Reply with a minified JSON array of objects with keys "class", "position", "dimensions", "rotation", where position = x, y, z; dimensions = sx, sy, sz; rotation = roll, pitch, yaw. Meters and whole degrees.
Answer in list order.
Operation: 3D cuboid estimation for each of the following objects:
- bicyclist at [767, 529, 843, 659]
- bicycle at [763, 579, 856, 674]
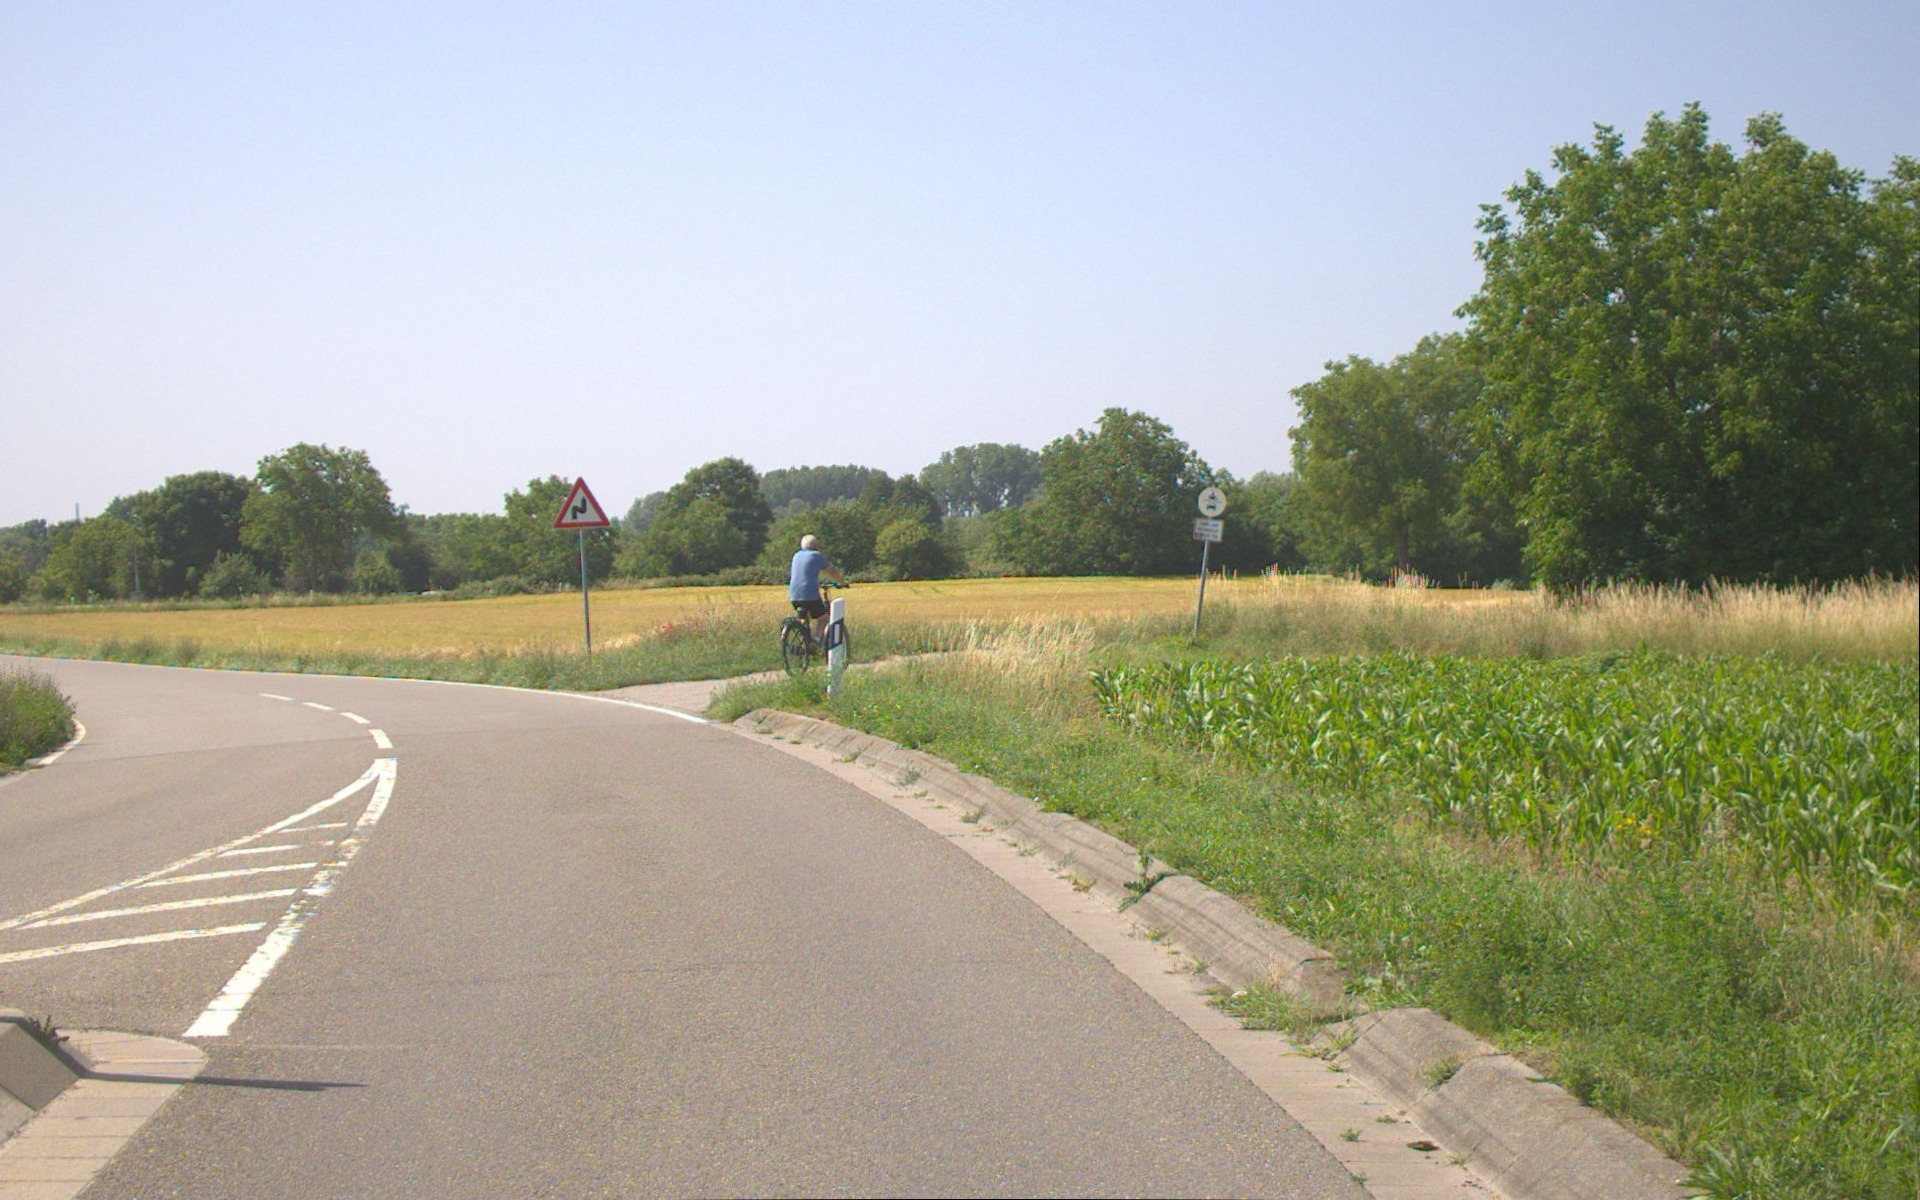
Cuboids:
[{"class":"bicyclist","position":[-1.904,-0.075,42.407],"dimensions":[0.673,1.568,0.735],"rotation":[-2,0,18]},{"class":"bicycle","position":[-1.852,0.314,42.474],"dimensions":[0.520,1.112,1.768],"rotation":[-2,0,18]}]
